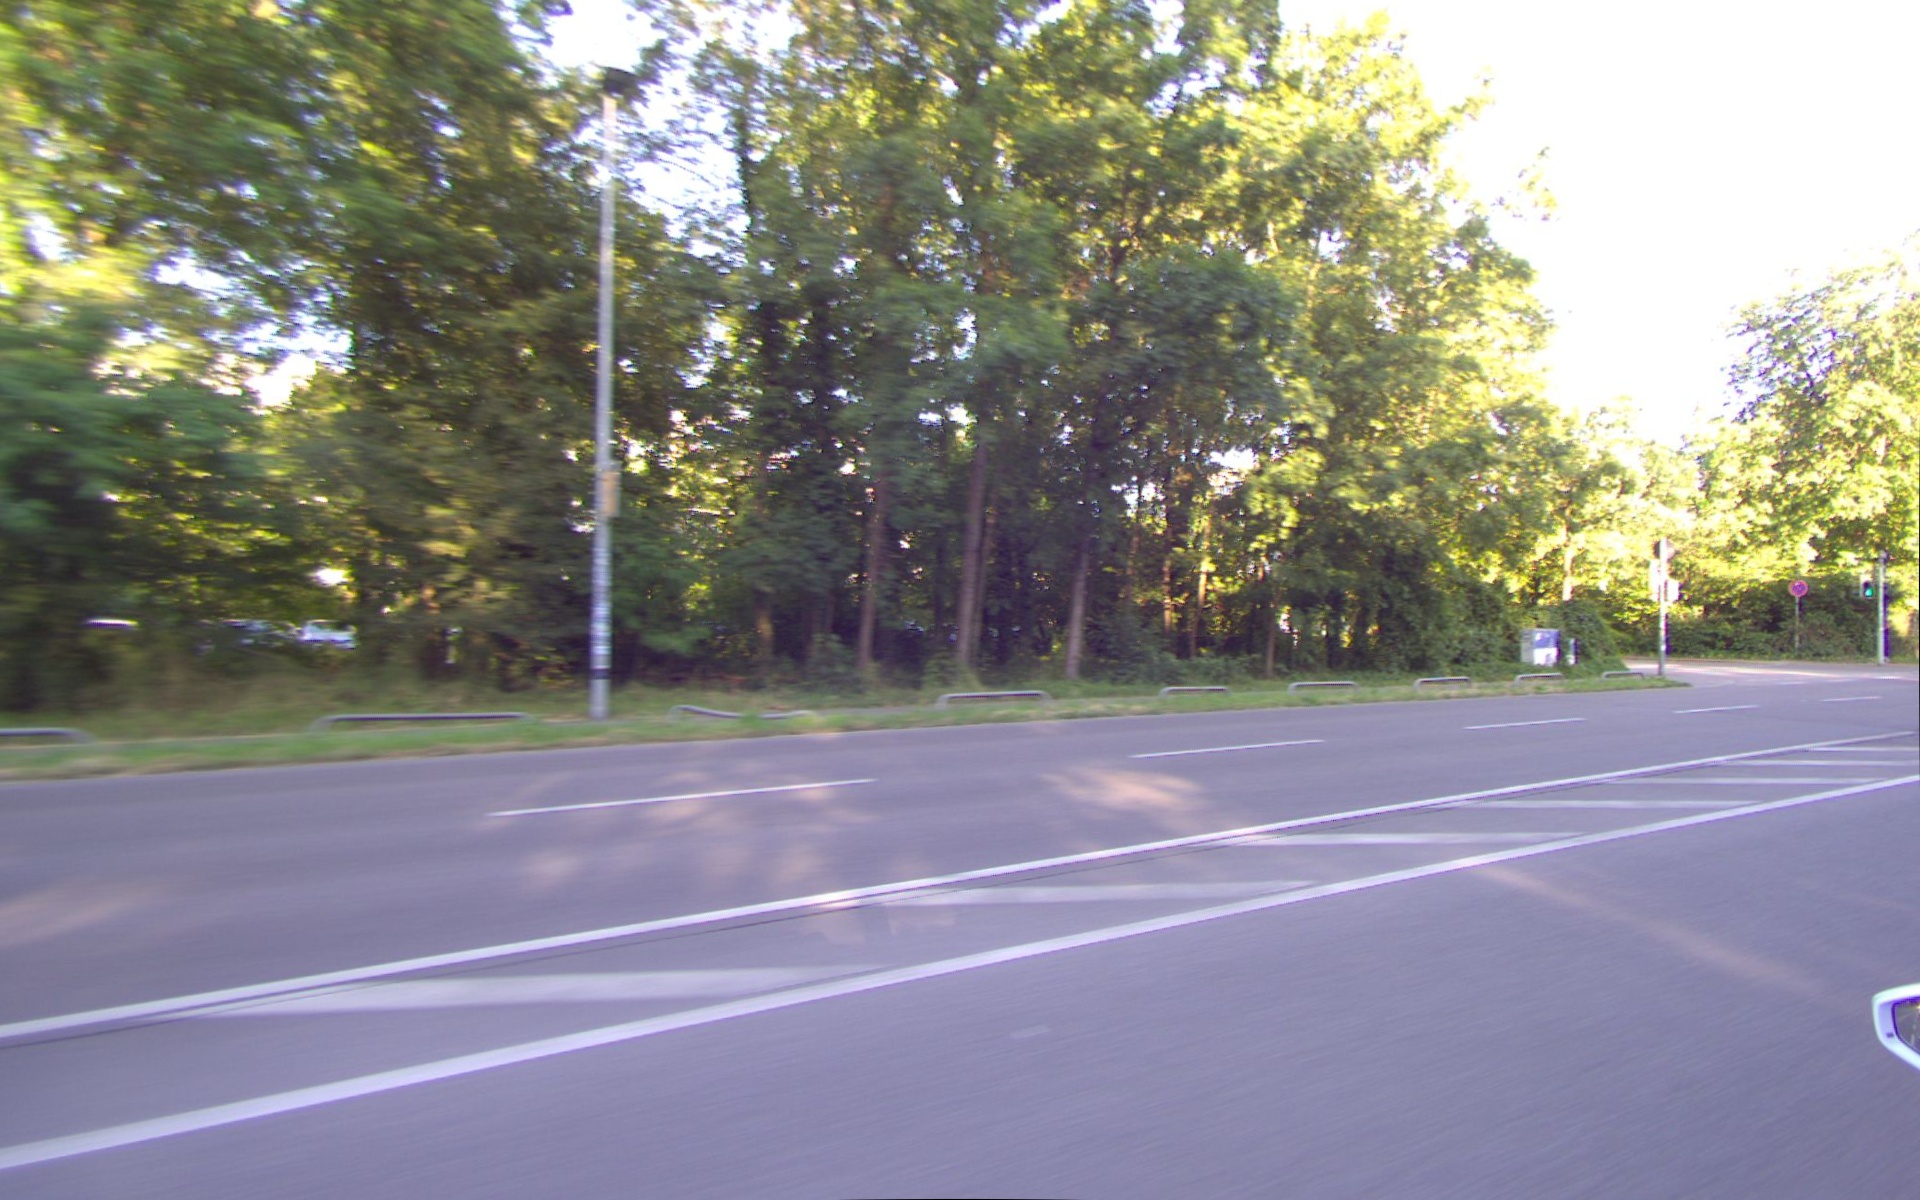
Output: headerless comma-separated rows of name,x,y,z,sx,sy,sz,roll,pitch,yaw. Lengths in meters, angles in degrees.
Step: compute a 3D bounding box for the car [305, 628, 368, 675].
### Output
car,-22.248,1.802,35.953,1.761,1.503,3.968,1,-1,-30
